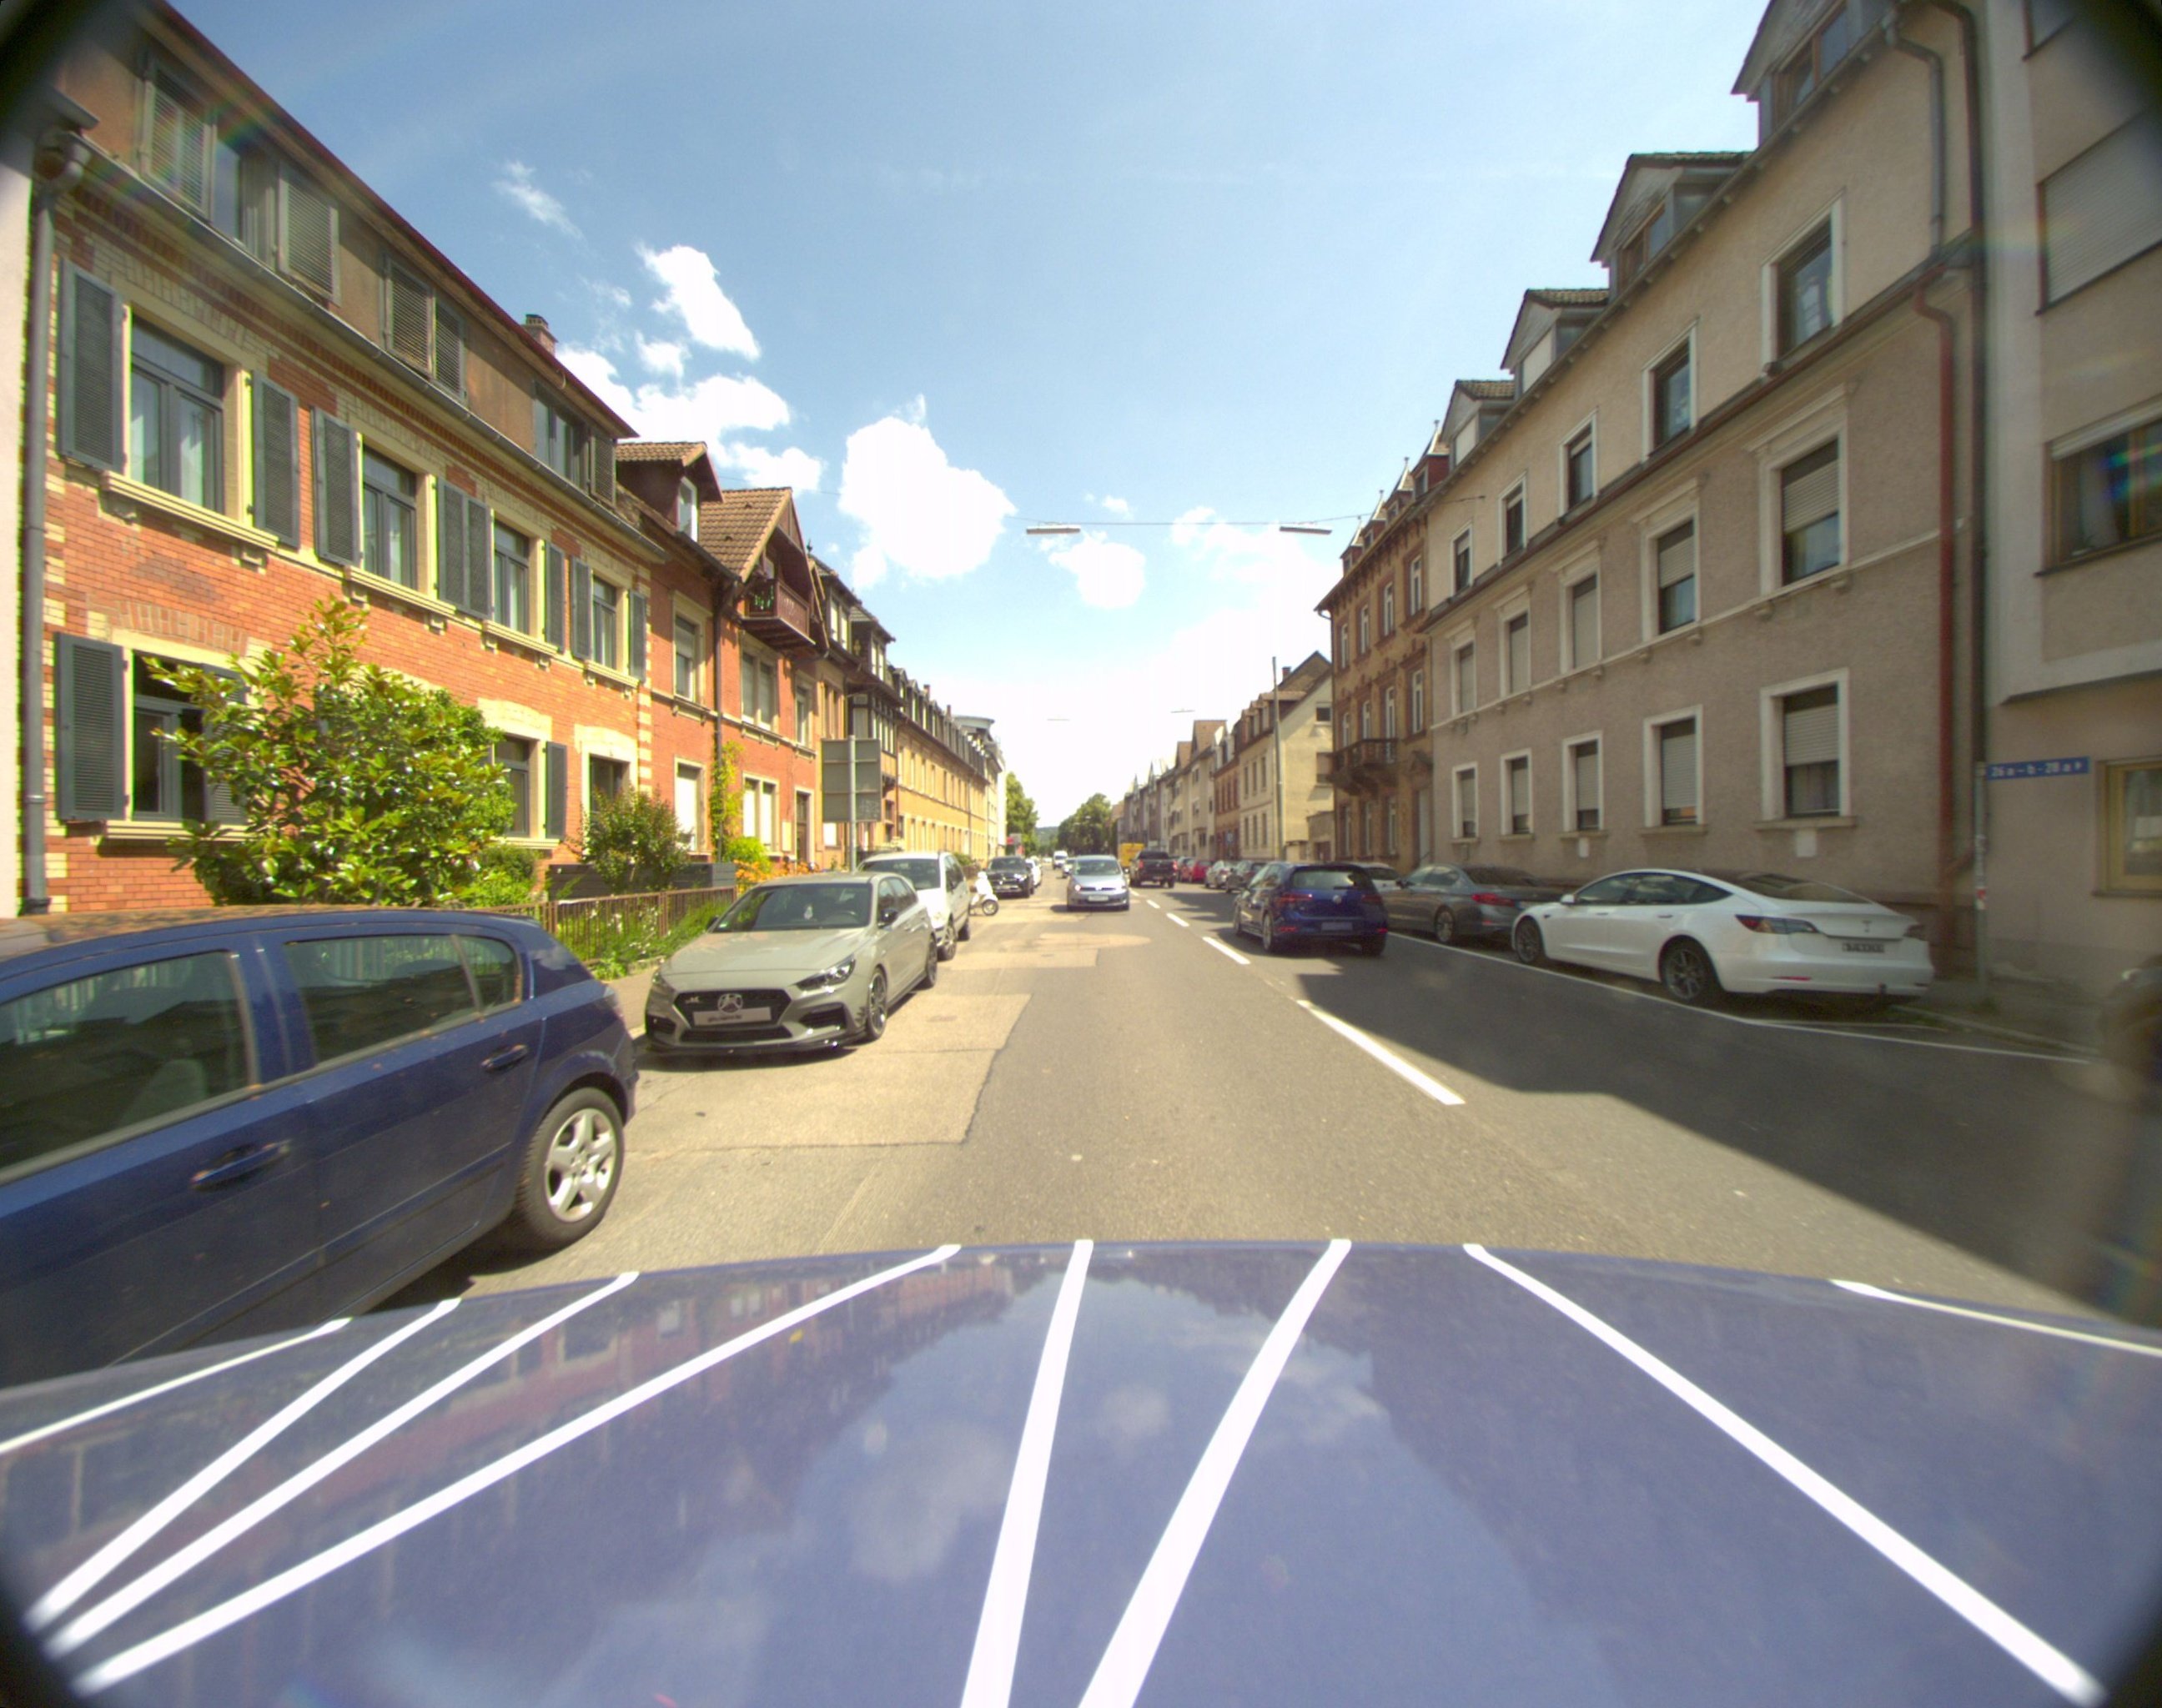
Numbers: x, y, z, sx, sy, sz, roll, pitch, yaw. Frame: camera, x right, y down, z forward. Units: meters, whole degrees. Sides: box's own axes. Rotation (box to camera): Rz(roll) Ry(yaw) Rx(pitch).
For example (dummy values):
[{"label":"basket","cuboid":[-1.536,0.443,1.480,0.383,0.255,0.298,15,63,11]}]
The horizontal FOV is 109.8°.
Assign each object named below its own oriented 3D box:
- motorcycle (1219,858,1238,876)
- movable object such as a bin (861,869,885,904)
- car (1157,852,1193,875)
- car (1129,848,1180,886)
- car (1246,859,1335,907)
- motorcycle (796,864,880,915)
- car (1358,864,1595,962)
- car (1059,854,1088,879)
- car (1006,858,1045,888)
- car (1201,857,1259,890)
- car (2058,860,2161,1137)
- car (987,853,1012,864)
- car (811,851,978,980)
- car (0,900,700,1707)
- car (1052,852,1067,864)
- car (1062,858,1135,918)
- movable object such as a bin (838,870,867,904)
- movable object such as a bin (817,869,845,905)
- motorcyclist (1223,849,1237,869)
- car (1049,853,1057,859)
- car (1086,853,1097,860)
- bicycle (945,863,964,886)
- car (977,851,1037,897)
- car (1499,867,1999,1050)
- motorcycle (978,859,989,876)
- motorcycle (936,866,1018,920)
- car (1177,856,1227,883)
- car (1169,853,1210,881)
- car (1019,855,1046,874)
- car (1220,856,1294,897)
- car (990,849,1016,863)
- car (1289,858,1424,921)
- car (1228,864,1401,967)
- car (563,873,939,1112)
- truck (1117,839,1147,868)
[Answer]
[{"label":"motorcycle","cuboid":[9.694,0.834,49.916,0.847,1.072,1.871,-2,0,-1]},{"label":"movable object such as a bin","cuboid":[-6.599,1.033,24.108,0.558,1.069,0.727,-1,1,1]},{"label":"car","cuboid":[6.730,0.648,54.818,1.844,1.587,4.501,1,1,-1]},{"label":"car","cuboid":[3.639,0.611,38.319,1.999,1.782,5.147,0,0,-1]},{"label":"car","cuboid":[7.248,0.946,26.774,1.844,1.414,4.502,3,0,0]},{"label":"motorcycle","cuboid":[-7.019,1.019,22.044,2.134,1.400,0.937,1,1,-1]},{"label":"car","cuboid":[7.081,0.962,14.303,1.845,1.414,4.644,1,1,-3]},{"label":"car","cuboid":[-0.515,0.859,54.582,1.999,1.652,4.624,0,0,0]},{"label":"car","cuboid":[-2.853,0.953,39.755,1.721,1.406,4.589,0,0,0]},{"label":"car","cuboid":[7.316,0.923,37.750,1.844,1.414,4.501,1,1,-1]},{"label":"car","cuboid":[6.830,0.872,2.647,1.907,1.628,4.564,1,0,17]},{"label":"car","cuboid":[-12.559,0.744,116.805,3.775,1.657,1.662,0,1,-8]},{"label":"car","cuboid":[-2.934,0.864,13.017,1.865,1.737,4.616,-3,0,-3]},{"label":"car","cuboid":[-2.950,1.025,1.833,1.700,1.478,4.617,-3,0,0]},{"label":"car","cuboid":[-2.662,0.482,93.210,1.721,1.406,4.589,0,0,0]},{"label":"car","cuboid":[0.396,0.892,21.884,1.747,1.513,4.221,-1,0,-3]},{"label":"movable object such as a bin","cuboid":[-7.245,1.049,24.104,0.660,1.048,0.748,-1,1,1]},{"label":"movable object such as a bin","cuboid":[-7.935,1.039,24.108,0.610,1.070,0.761,-1,1,1]},{"label":"motorcyclist","cuboid":[9.744,0.318,49.773,0.720,1.241,0.712,-1,1,-2]},{"label":"car","cuboid":[-6.370,0.396,171.308,1.721,1.406,4.589,0,0,0]},{"label":"car","cuboid":[2.194,0.558,160.411,1.891,1.531,4.566,0,0,-5]},{"label":"bicycle","cuboid":[-6.119,0.962,36.789,0.595,1.060,1.882,0,0,0]},{"label":"car","cuboid":[-2.863,0.735,30.367,1.999,1.652,4.624,0,0,0]},{"label":"car","cuboid":[7.100,0.954,8.936,1.844,1.414,4.557,2,1,1]},{"label":"motorcycle","cuboid":[-7.290,0.976,56.869,0.597,1.218,1.361,-1,1,-2]},{"label":"motorcycle","cuboid":[-2.857,1.028,20.820,1.990,1.377,1.115,-1,1,38]},{"label":"car","cuboid":[6.949,0.849,44.217,1.845,1.414,4.500,2,0,-4]},{"label":"car","cuboid":[6.965,0.793,49.268,1.844,1.587,4.501,3,1,-1]},{"label":"car","cuboid":[-4.135,0.849,64.076,1.860,1.455,4.546,-2,1,-8]},{"label":"car","cuboid":[7.304,0.884,32.007,1.845,1.414,4.501,4,0,-2]},{"label":"car","cuboid":[-14.197,0.375,138.497,4.615,2.263,2.105,-3,1,-3]},{"label":"car","cuboid":[7.328,0.886,20.758,1.845,1.414,4.500,1,1,-3]},{"label":"car","cuboid":[3.709,0.901,12.832,1.820,1.380,4.000,1,0,2]},{"label":"car","cuboid":[-2.694,1.014,7.462,1.865,1.478,4.309,-3,0,-2]},{"label":"truck","cuboid":[4.978,-0.037,75.760,2.231,2.755,7.562,1,0,-2]}]
